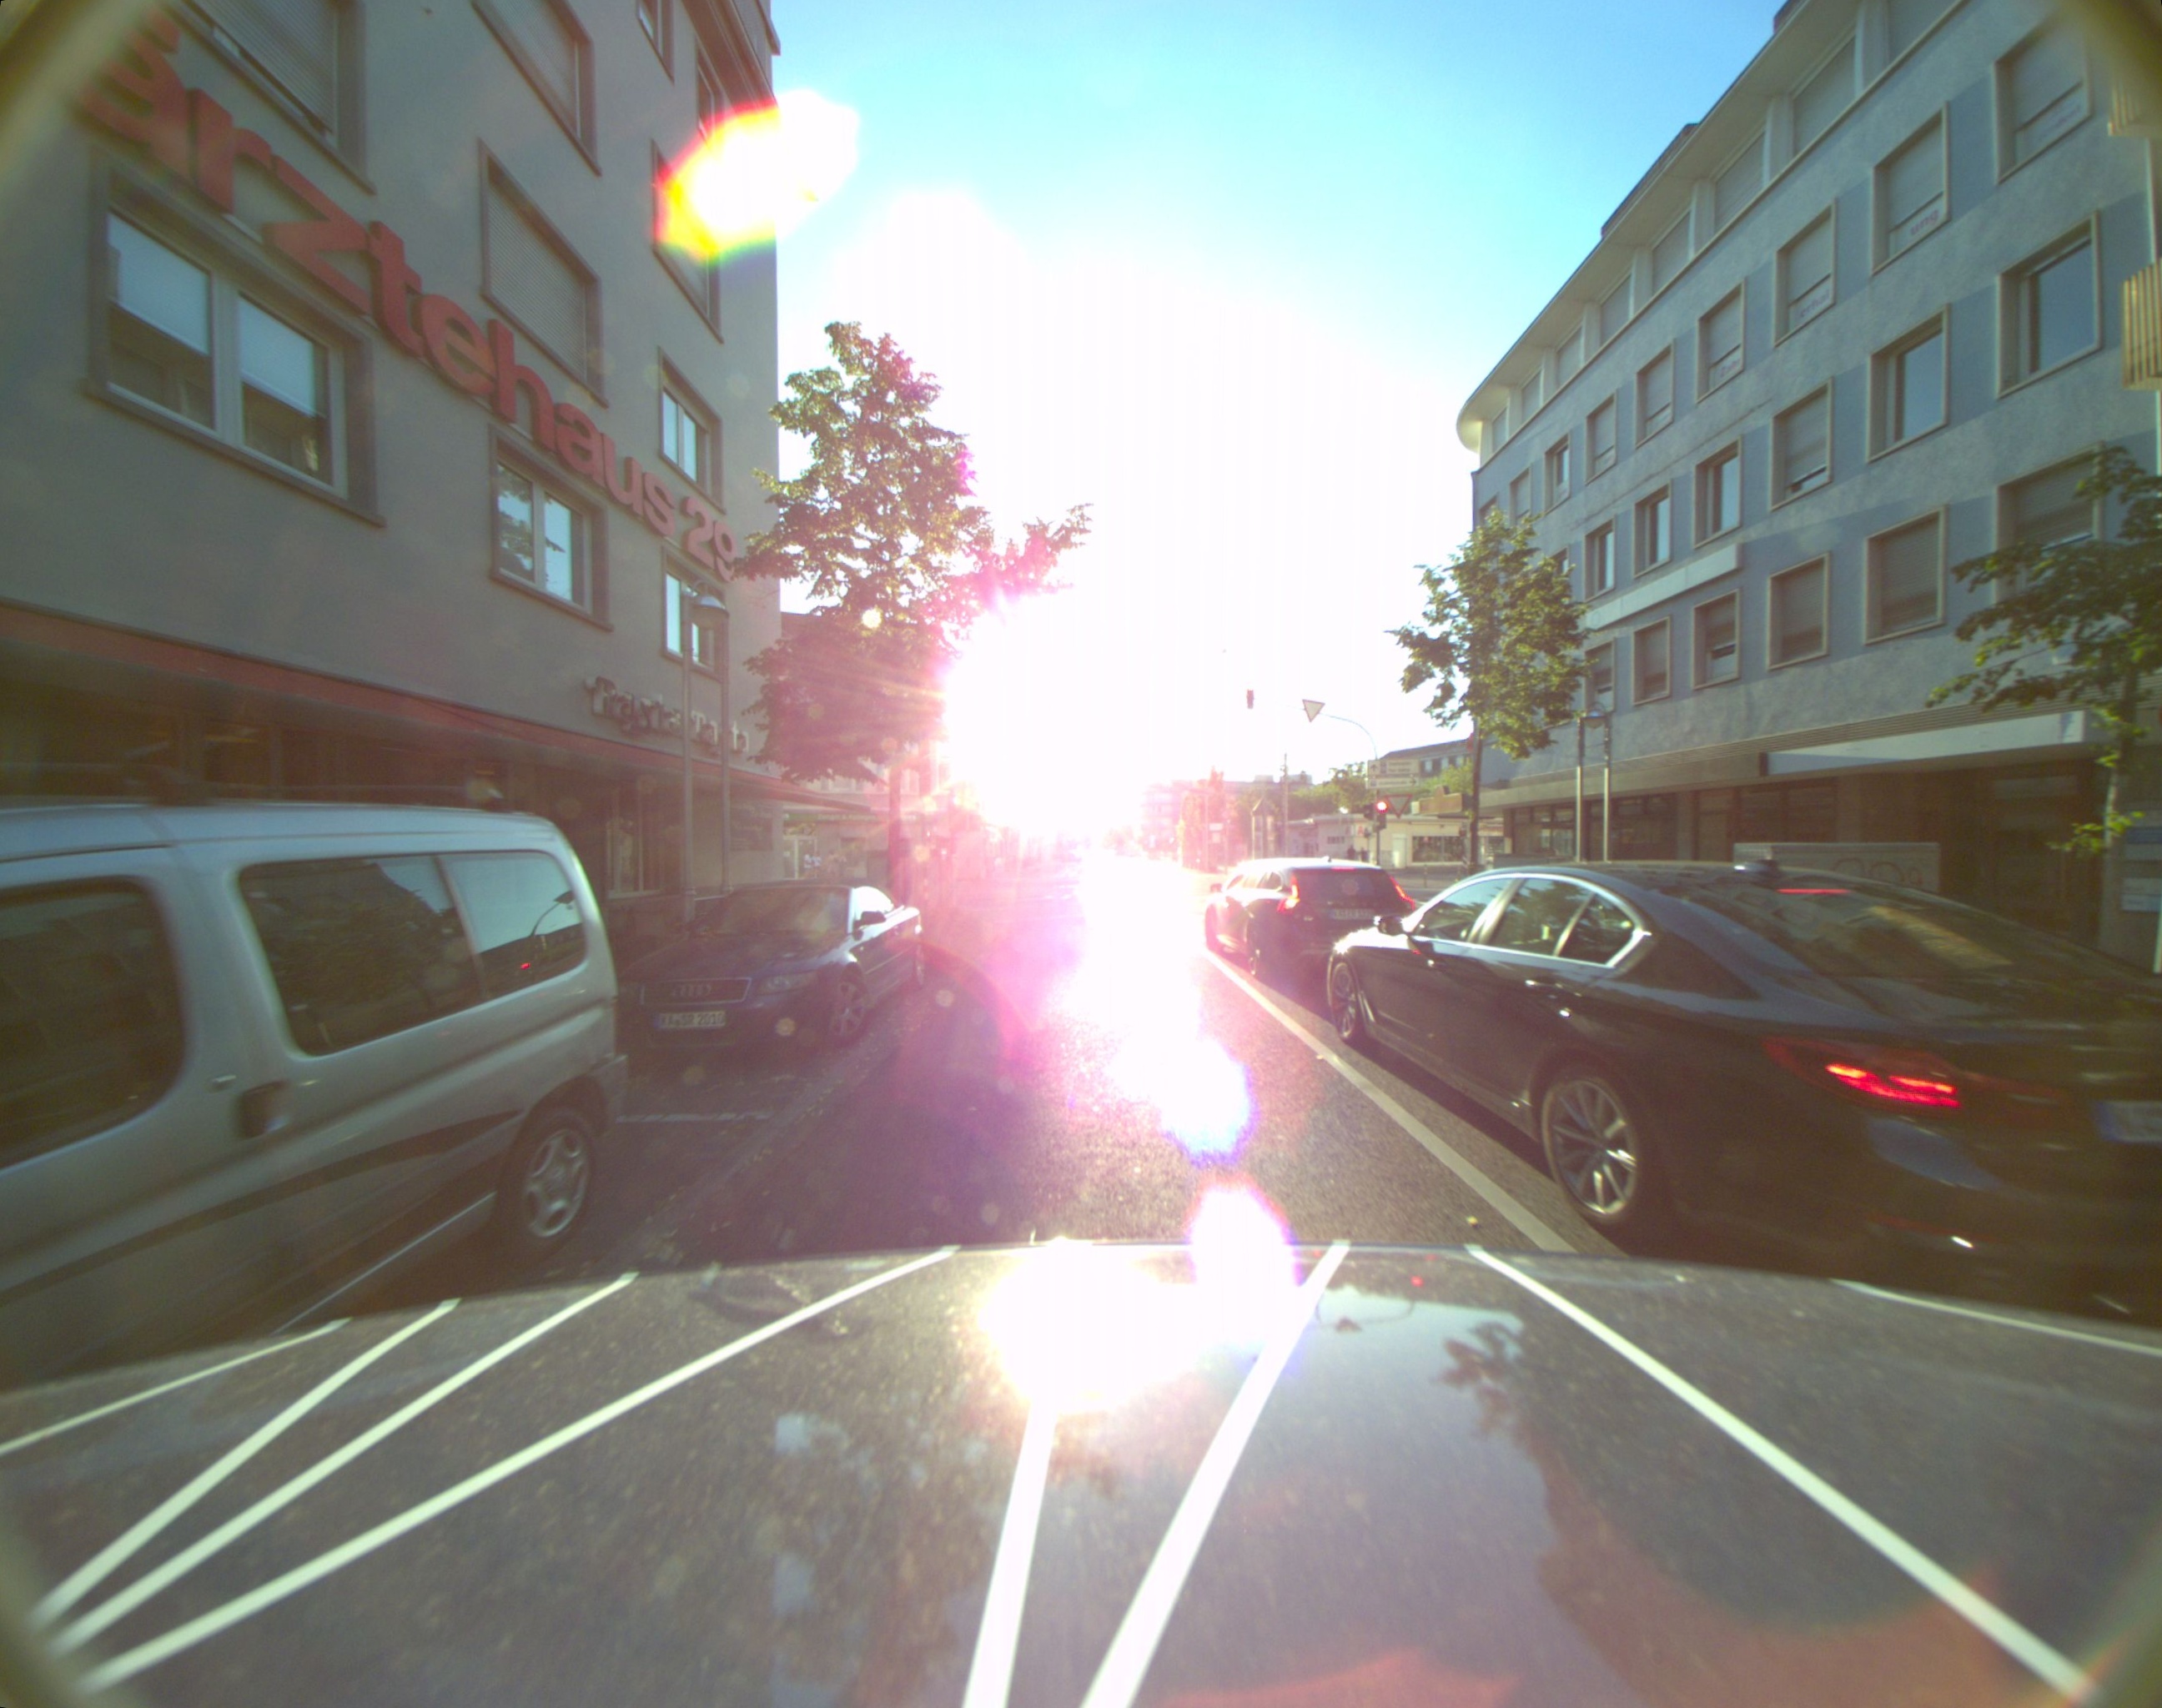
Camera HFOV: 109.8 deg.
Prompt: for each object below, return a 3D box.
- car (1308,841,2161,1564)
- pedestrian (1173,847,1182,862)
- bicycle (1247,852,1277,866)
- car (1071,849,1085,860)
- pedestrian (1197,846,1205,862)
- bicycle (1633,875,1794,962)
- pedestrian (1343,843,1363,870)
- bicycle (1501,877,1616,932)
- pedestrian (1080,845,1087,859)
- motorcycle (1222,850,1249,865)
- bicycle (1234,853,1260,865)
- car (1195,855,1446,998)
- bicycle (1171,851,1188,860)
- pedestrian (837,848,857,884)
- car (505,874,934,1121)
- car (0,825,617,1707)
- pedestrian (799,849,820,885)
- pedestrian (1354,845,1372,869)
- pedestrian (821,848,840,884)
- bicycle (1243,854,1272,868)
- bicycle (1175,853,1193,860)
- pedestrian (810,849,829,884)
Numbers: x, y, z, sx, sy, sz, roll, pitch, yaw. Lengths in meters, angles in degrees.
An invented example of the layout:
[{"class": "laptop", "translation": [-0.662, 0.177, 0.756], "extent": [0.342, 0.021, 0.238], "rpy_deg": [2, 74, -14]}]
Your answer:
[{"class": "car", "translation": [2.832, 0.767, 4.022], "extent": [1.951, 1.635, 4.614], "rpy_deg": [0, 1, 1]}, {"class": "pedestrian", "translation": [10.878, 0.085, 86.014], "extent": [0.905, 1.667, 0.780], "rpy_deg": [-1, 2, 12]}, {"class": "bicycle", "translation": [14.739, 0.379, 61.904], "extent": [2.196, 1.081, 0.779], "rpy_deg": [-1, 2, -5]}, {"class": "car", "translation": [-0.471, 0.046, 121.468], "extent": [1.998, 1.538, 4.509], "rpy_deg": [-2, 1, 2]}, {"class": "pedestrian", "translation": [13.173, 0.018, 83.594], "extent": [0.778, 1.667, 0.907], "rpy_deg": [-1, 2, 8]}, {"class": "bicycle", "translation": [9.600, 0.966, 11.560], "extent": [2.014, 1.212, 0.491], "rpy_deg": [-2, 2, 1]}, {"class": "pedestrian", "translation": [18.493, 0.159, 51.713], "extent": [0.908, 1.774, 0.879], "rpy_deg": [-2, 2, -22]}, {"class": "bicycle", "translation": [9.492, 0.994, 15.111], "extent": [2.015, 0.986, 0.491], "rpy_deg": [-2, 2, -3]}, {"class": "pedestrian", "translation": [0.320, -0.241, 93.529], "extent": [0.842, 1.736, 0.701], "rpy_deg": [-2, 2, 0]}, {"class": "motorcycle", "translation": [14.453, 0.298, 71.070], "extent": [2.450, 1.358, 0.780], "rpy_deg": [-2, 0, 6]}, {"class": "bicycle", "translation": [14.807, 0.430, 67.824], "extent": [2.180, 1.081, 0.779], "rpy_deg": [0, 2, 1]}, {"class": "car", "translation": [2.929, 0.790, 10.456], "extent": [1.963, 1.538, 4.509], "rpy_deg": [0, 0, -1]}, {"class": "bicycle", "translation": [13.535, 0.219, 104.367], "extent": [2.398, 1.065, 0.673], "rpy_deg": [-2, 2, 8]}, {"class": "pedestrian", "translation": [-11.878, 0.598, 38.564], "extent": [0.779, 1.762, 0.906], "rpy_deg": [-2, 2, -11]}, {"class": "car", "translation": [-2.757, 0.989, 7.051], "extent": [1.942, 1.368, 4.181], "rpy_deg": [-3, 1, -1]}, {"class": "car", "translation": [-2.830, 0.855, 1.304], "extent": [1.659, 1.768, 4.010], "rpy_deg": [-2, 0, -2]}, {"class": "pedestrian", "translation": [-13.625, 0.648, 38.108], "extent": [0.688, 1.762, 0.763], "rpy_deg": [-3, 2, -40]}, {"class": "pedestrian", "translation": [19.949, 0.219, 53.694], "extent": [0.781, 1.667, 0.904], "rpy_deg": [-3, 2, -34]}, {"class": "pedestrian", "translation": [-12.723, 0.594, 38.614], "extent": [0.779, 1.802, 0.906], "rpy_deg": [-2, 2, -11]}, {"class": "bicycle", "translation": [14.643, 0.595, 63.033], "extent": [2.221, 1.081, 0.779], "rpy_deg": [-1, 2, -5]}, {"class": "bicycle", "translation": [13.802, 0.335, 101.647], "extent": [2.398, 0.953, 0.673], "rpy_deg": [-2, 2, 8]}, {"class": "pedestrian", "translation": [-13.294, 0.630, 38.628], "extent": [0.685, 1.762, 0.628], "rpy_deg": [-3, 2, -40]}]
